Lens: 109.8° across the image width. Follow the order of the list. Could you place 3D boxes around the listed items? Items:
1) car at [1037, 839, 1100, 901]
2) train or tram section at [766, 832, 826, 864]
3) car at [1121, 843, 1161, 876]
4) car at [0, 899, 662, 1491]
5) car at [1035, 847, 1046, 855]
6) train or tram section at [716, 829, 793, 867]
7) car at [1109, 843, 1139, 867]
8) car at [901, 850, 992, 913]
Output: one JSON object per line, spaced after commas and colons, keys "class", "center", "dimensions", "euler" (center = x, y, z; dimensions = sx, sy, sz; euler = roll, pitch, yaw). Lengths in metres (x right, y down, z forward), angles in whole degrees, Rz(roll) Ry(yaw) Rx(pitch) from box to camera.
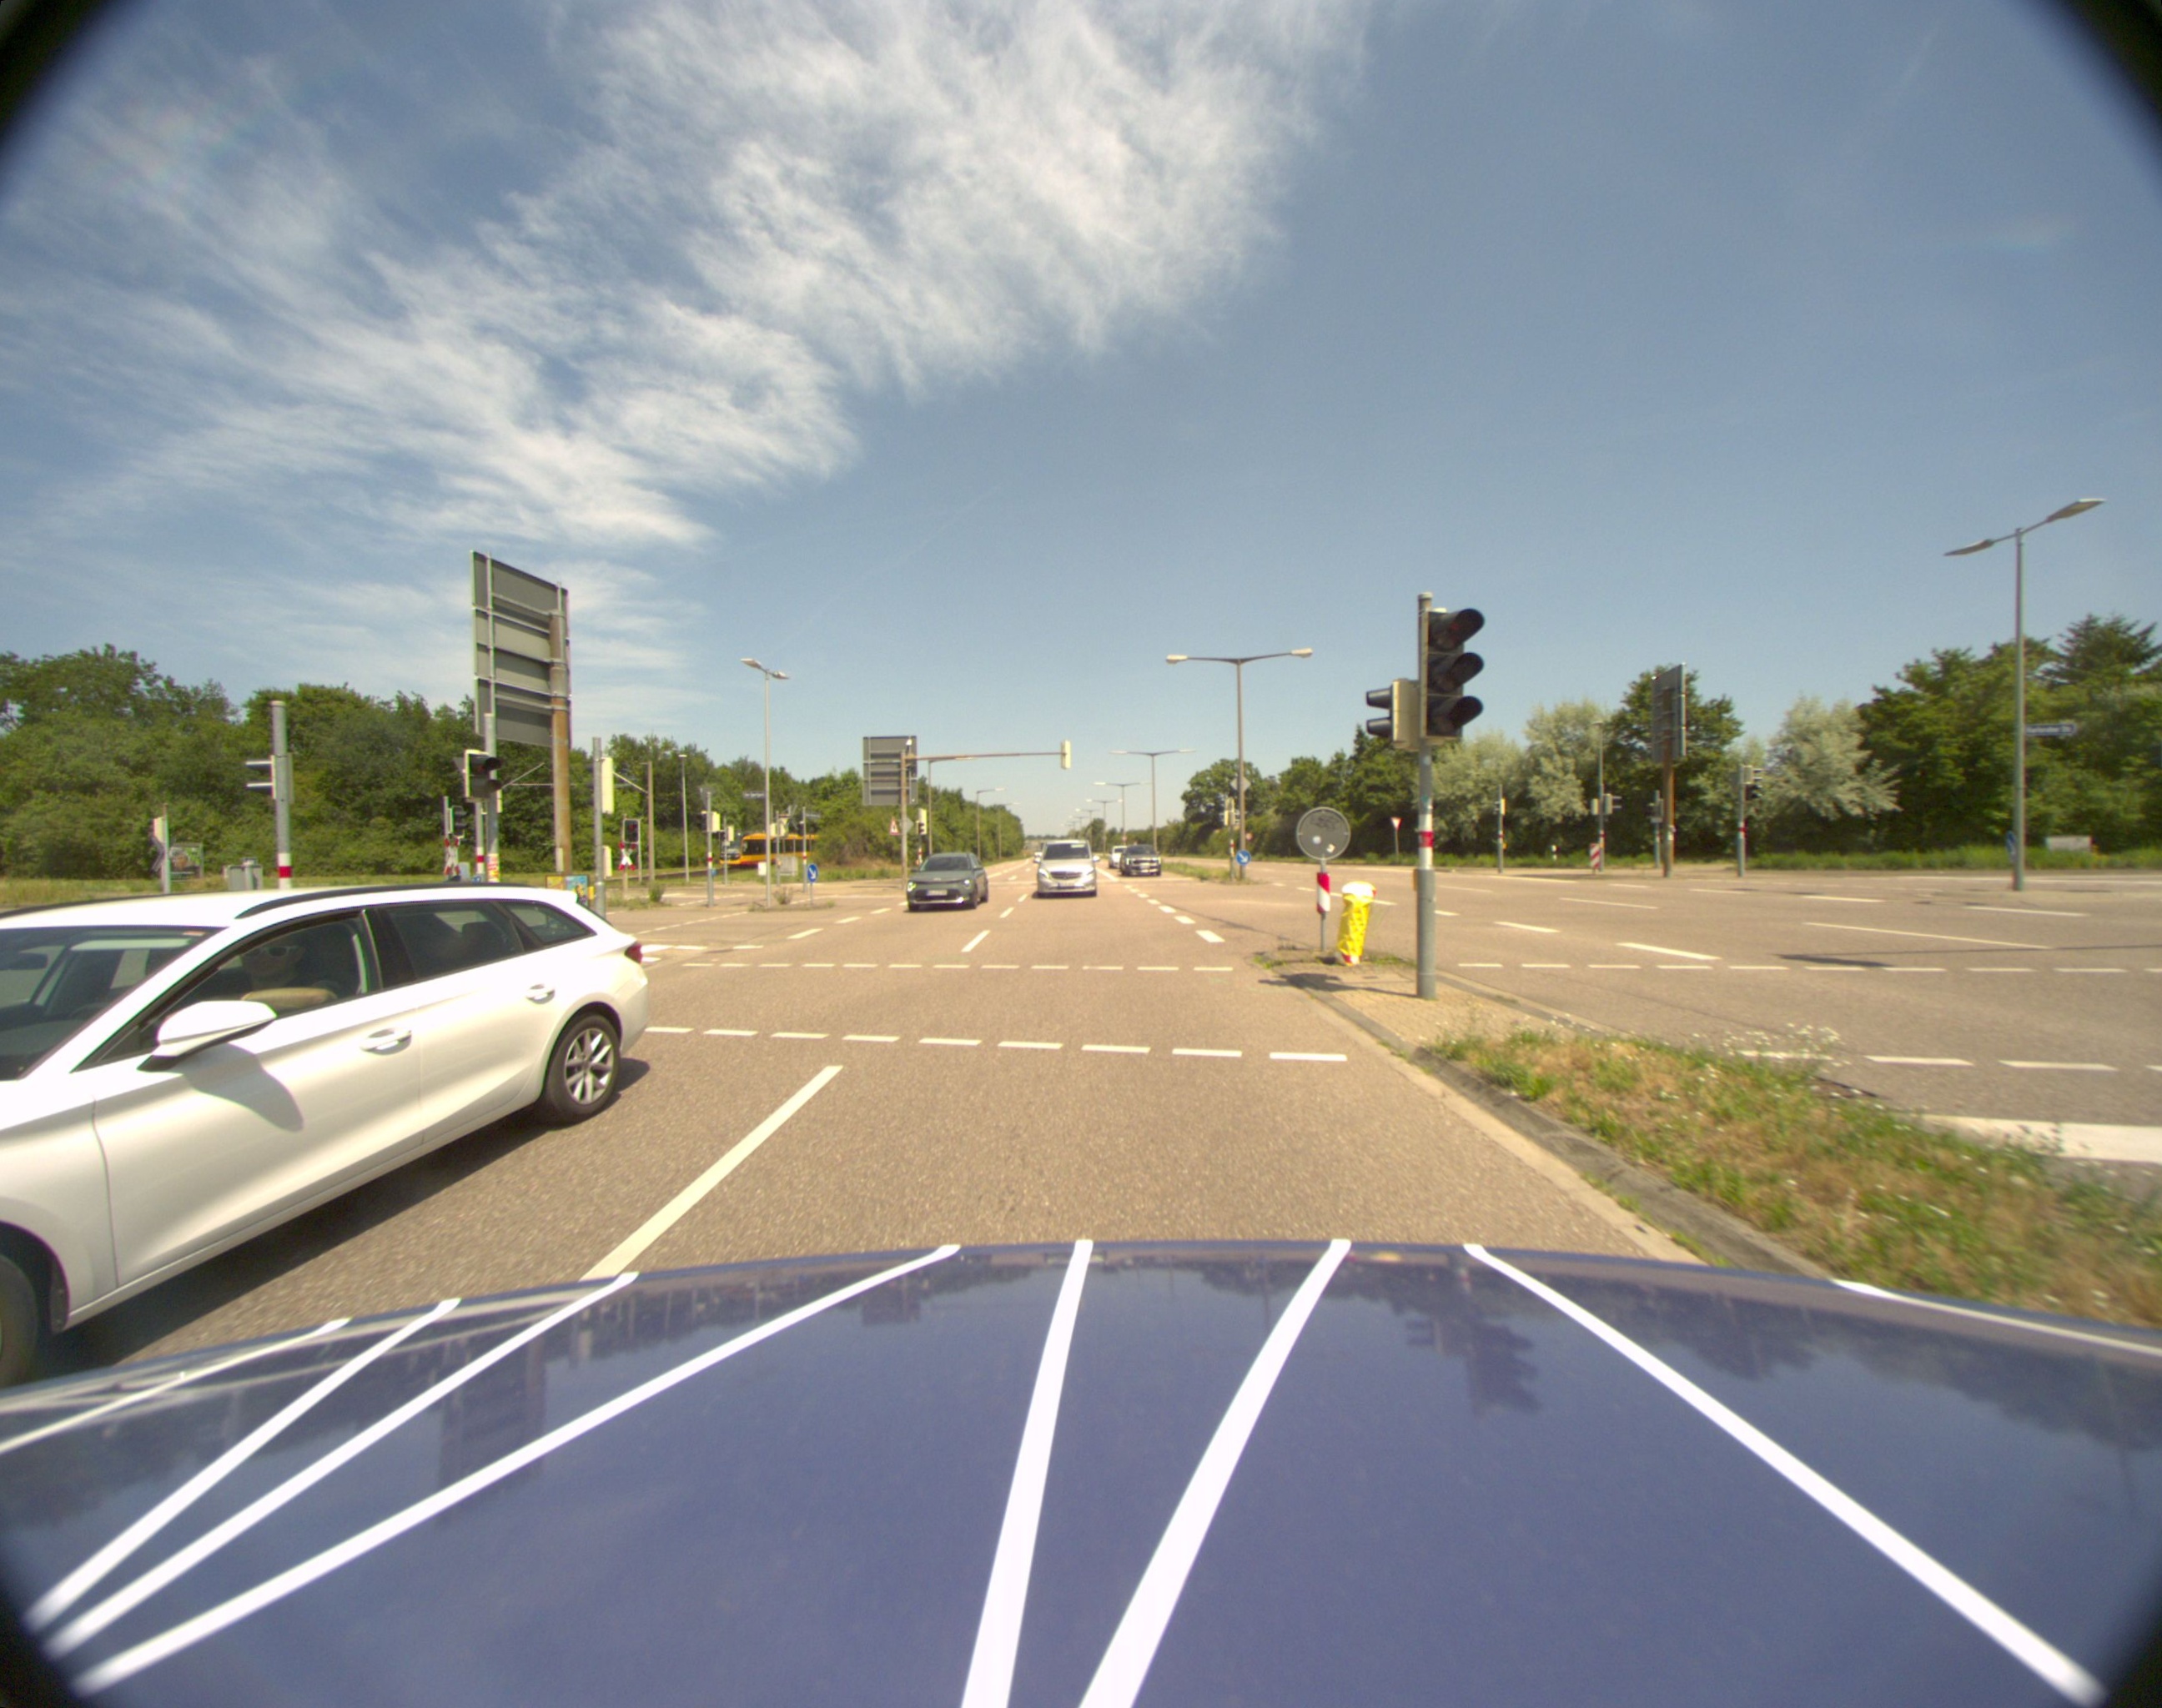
{"class": "car", "center": [-0.331, 0.456, 25.870], "dimensions": [1.876, 1.866, 5.731], "euler": [-1, 1, 1]}
{"class": "train or tram section", "center": [-33.707, -0.741, 90.603], "dimensions": [2.822, 3.561, 12.496], "euler": [-1, 1, -2]}
{"class": "car", "center": [3.246, 0.254, 41.906], "dimensions": [1.785, 1.658, 4.530], "euler": [-1, 1, -1]}
{"class": "car", "center": [-3.780, 1.043, 3.031], "dimensions": [1.686, 1.382, 4.450], "euler": [-1, 1, 0]}
{"class": "car", "center": [-8.677, -0.586, 163.430], "dimensions": [1.998, 1.652, 4.000], "euler": [-1, 1, 2]}
{"class": "train or tram section", "center": [-33.224, -0.605, 78.040], "dimensions": [2.822, 3.561, 12.497], "euler": [-1, 1, -2]}
{"class": "car", "center": [3.240, 0.037, 57.986], "dimensions": [1.922, 1.662, 4.000], "euler": [-1, 1, -1]}
{"class": "car", "center": [-3.703, 0.710, 21.581], "dimensions": [1.722, 1.587, 4.000], "euler": [-1, 1, 2]}
